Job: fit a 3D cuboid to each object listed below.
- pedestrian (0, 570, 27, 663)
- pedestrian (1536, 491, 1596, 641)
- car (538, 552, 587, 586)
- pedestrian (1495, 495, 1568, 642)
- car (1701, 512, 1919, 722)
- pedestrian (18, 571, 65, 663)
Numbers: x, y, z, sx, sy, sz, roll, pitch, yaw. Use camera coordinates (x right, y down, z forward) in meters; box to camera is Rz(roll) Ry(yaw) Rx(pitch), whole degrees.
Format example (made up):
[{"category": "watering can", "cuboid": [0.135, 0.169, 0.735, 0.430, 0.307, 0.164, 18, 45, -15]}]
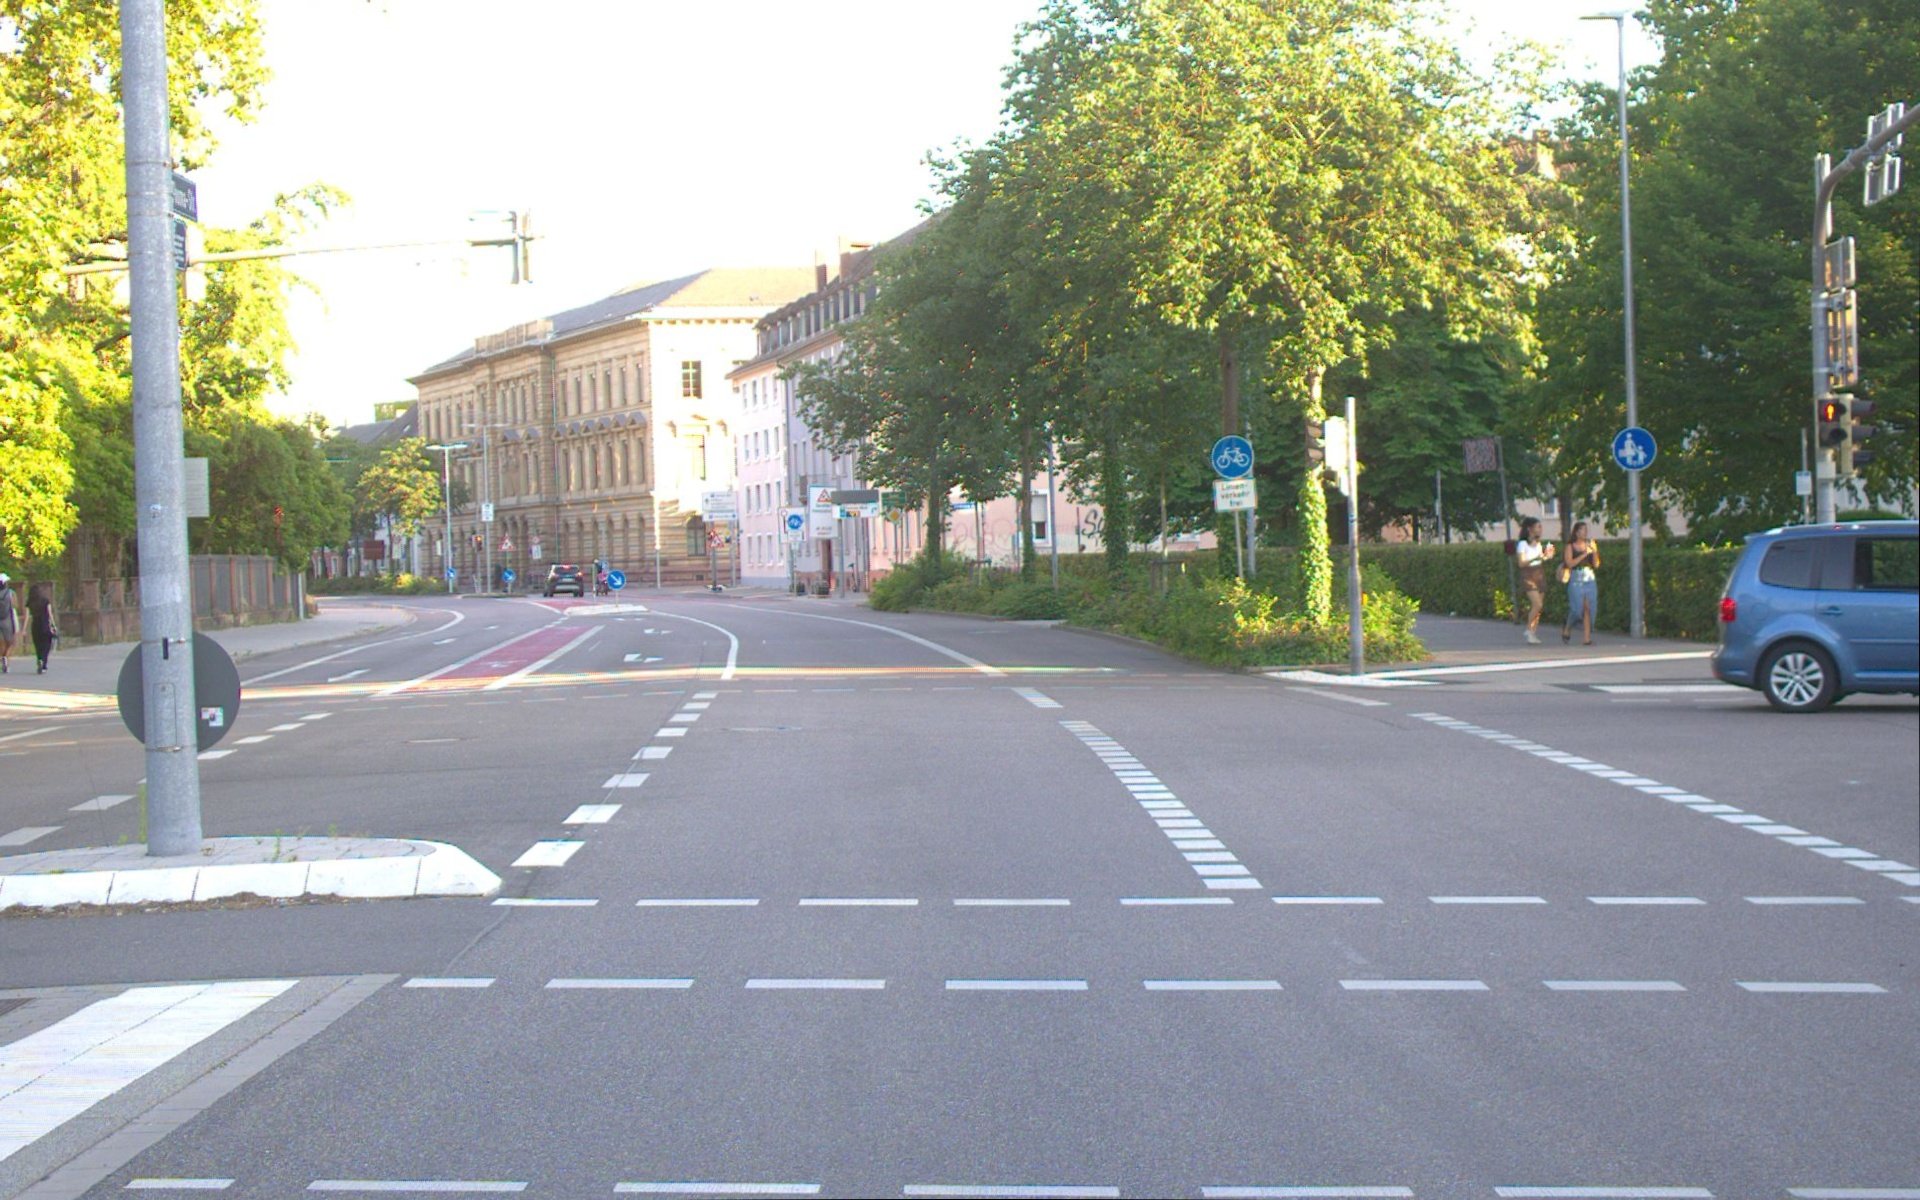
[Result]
[{"category": "pedestrian", "cuboid": [-16.582, 0.290, 59.710, 0.535, 1.591, 0.590, -2, 1, -1]}, {"category": "pedestrian", "cuboid": [8.172, -0.458, 46.373, 0.635, 2.007, 0.720, -1, 1, -4]}, {"category": "car", "cuboid": [-19.631, -1.532, 169.734, 1.819, 1.583, 4.001, -3, 1, -14]}, {"category": "pedestrian", "cuboid": [7.869, -0.437, 47.384, 0.870, 2.007, 0.722, 0, 1, -1]}, {"category": "car", "cuboid": [8.722, 0.116, 29.656, 4.286, 1.714, 1.854, -1, 3, 22]}, {"category": "pedestrian", "cuboid": [-15.949, 0.293, 59.701, 0.599, 1.568, 0.646, -2, 1, -1]}]
